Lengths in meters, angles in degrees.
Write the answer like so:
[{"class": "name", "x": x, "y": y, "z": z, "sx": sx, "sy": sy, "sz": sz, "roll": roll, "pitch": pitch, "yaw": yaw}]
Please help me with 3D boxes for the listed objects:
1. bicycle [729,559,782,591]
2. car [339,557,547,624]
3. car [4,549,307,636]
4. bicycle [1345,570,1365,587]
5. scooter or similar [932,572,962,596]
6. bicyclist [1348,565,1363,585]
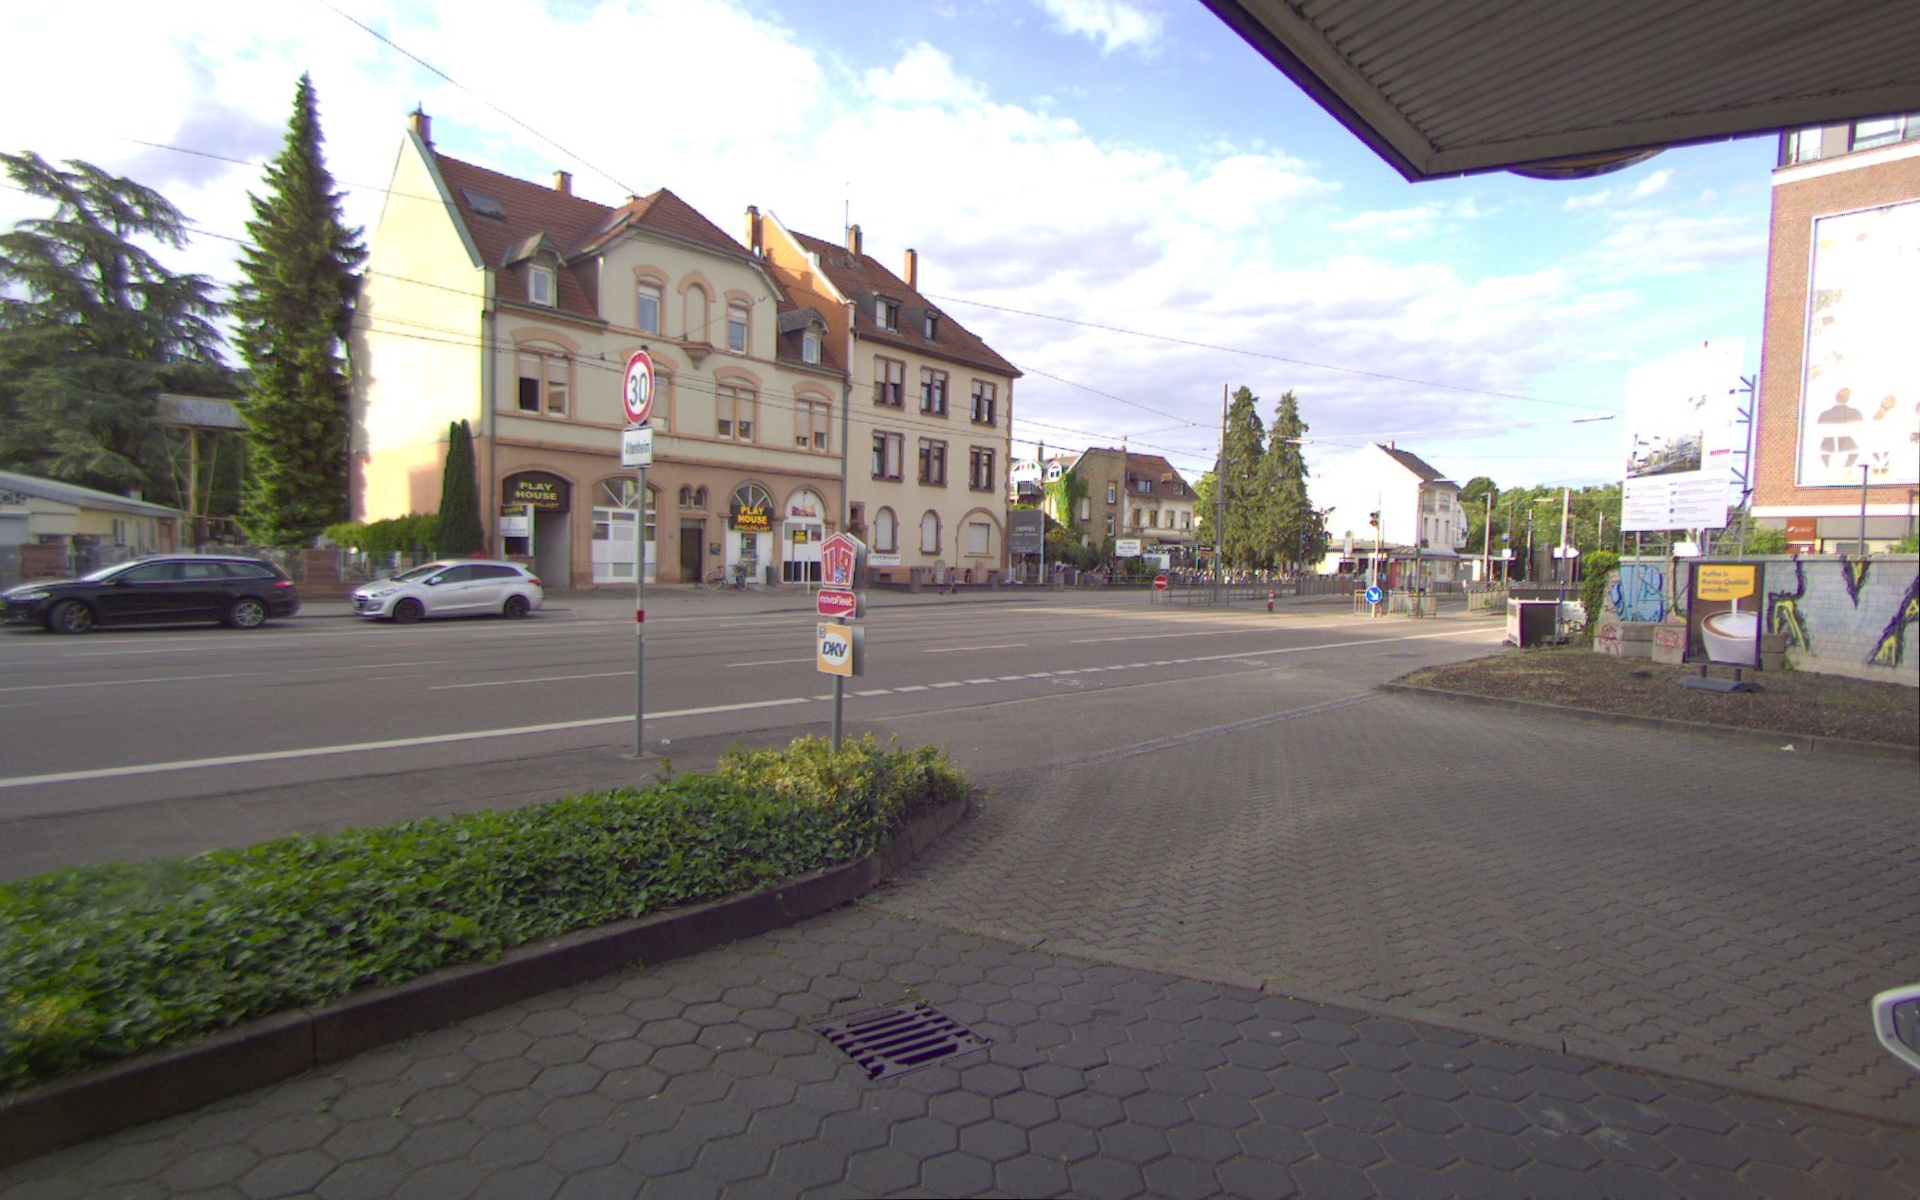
[{"class": "bicycle", "x": -8.252, "y": -1.004, "z": 40.621, "sx": 0.741, "sy": 1.219, "sz": 2.011, "roll": 8, "pitch": 5, "yaw": 41}, {"class": "car", "x": -12.933, "y": -0.252, "z": 25.350, "sx": 1.718, "sy": 1.502, "sz": 4.357, "roll": 3, "pitch": 2, "yaw": 41}, {"class": "car", "x": -16.490, "y": -0.176, "z": 20.811, "sx": 1.827, "sy": 1.542, "sz": 4.642, "roll": 5, "pitch": 4, "yaw": 40}, {"class": "bicycle", "x": 30.250, "y": -1.643, "z": 76.935, "sx": 0.741, "sy": 1.219, "sz": 1.811, "roll": 8, "pitch": 6, "yaw": 42}, {"class": "scooter or similar", "x": -0.571, "y": -0.716, "z": 45.088, "sx": 0.437, "sy": 1.006, "sz": 1.460, "roll": 6, "pitch": 5, "yaw": 41}, {"class": "bicyclist", "x": 30.297, "y": -1.899, "z": 76.934, "sx": 0.741, "sy": 1.428, "sz": 0.916, "roll": 8, "pitch": 6, "yaw": 42}]
